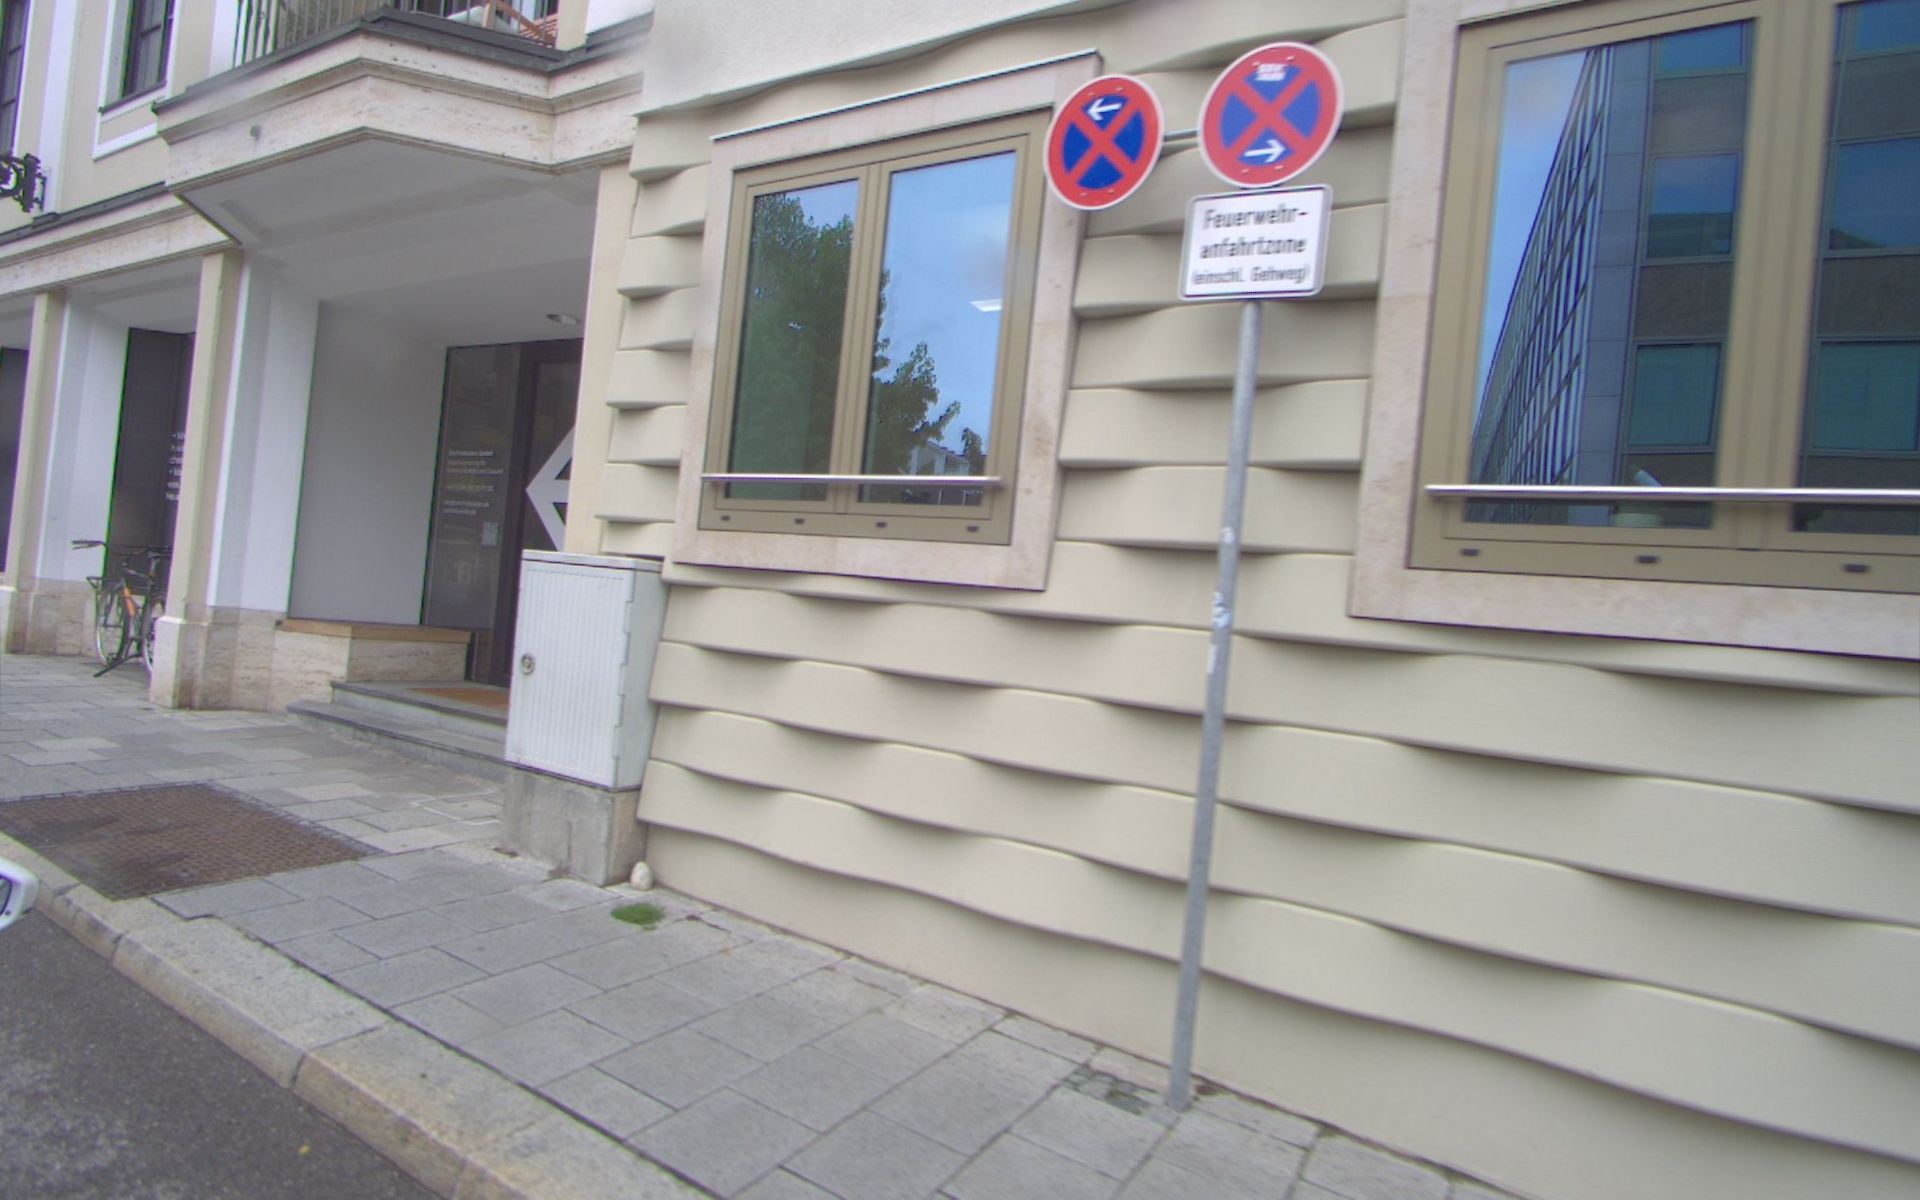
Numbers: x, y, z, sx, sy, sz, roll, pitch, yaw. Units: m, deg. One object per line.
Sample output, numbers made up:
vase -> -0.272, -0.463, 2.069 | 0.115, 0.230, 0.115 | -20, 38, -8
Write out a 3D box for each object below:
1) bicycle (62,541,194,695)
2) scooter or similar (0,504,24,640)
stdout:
bicycle -> -6.774, 0.109, 8.153 | 2.049, 1.007, 0.463 | 8, 2, 42
scooter or similar -> -9.619, -0.326, 9.556 | 1.253, 1.275, 0.466 | 7, 3, 18
